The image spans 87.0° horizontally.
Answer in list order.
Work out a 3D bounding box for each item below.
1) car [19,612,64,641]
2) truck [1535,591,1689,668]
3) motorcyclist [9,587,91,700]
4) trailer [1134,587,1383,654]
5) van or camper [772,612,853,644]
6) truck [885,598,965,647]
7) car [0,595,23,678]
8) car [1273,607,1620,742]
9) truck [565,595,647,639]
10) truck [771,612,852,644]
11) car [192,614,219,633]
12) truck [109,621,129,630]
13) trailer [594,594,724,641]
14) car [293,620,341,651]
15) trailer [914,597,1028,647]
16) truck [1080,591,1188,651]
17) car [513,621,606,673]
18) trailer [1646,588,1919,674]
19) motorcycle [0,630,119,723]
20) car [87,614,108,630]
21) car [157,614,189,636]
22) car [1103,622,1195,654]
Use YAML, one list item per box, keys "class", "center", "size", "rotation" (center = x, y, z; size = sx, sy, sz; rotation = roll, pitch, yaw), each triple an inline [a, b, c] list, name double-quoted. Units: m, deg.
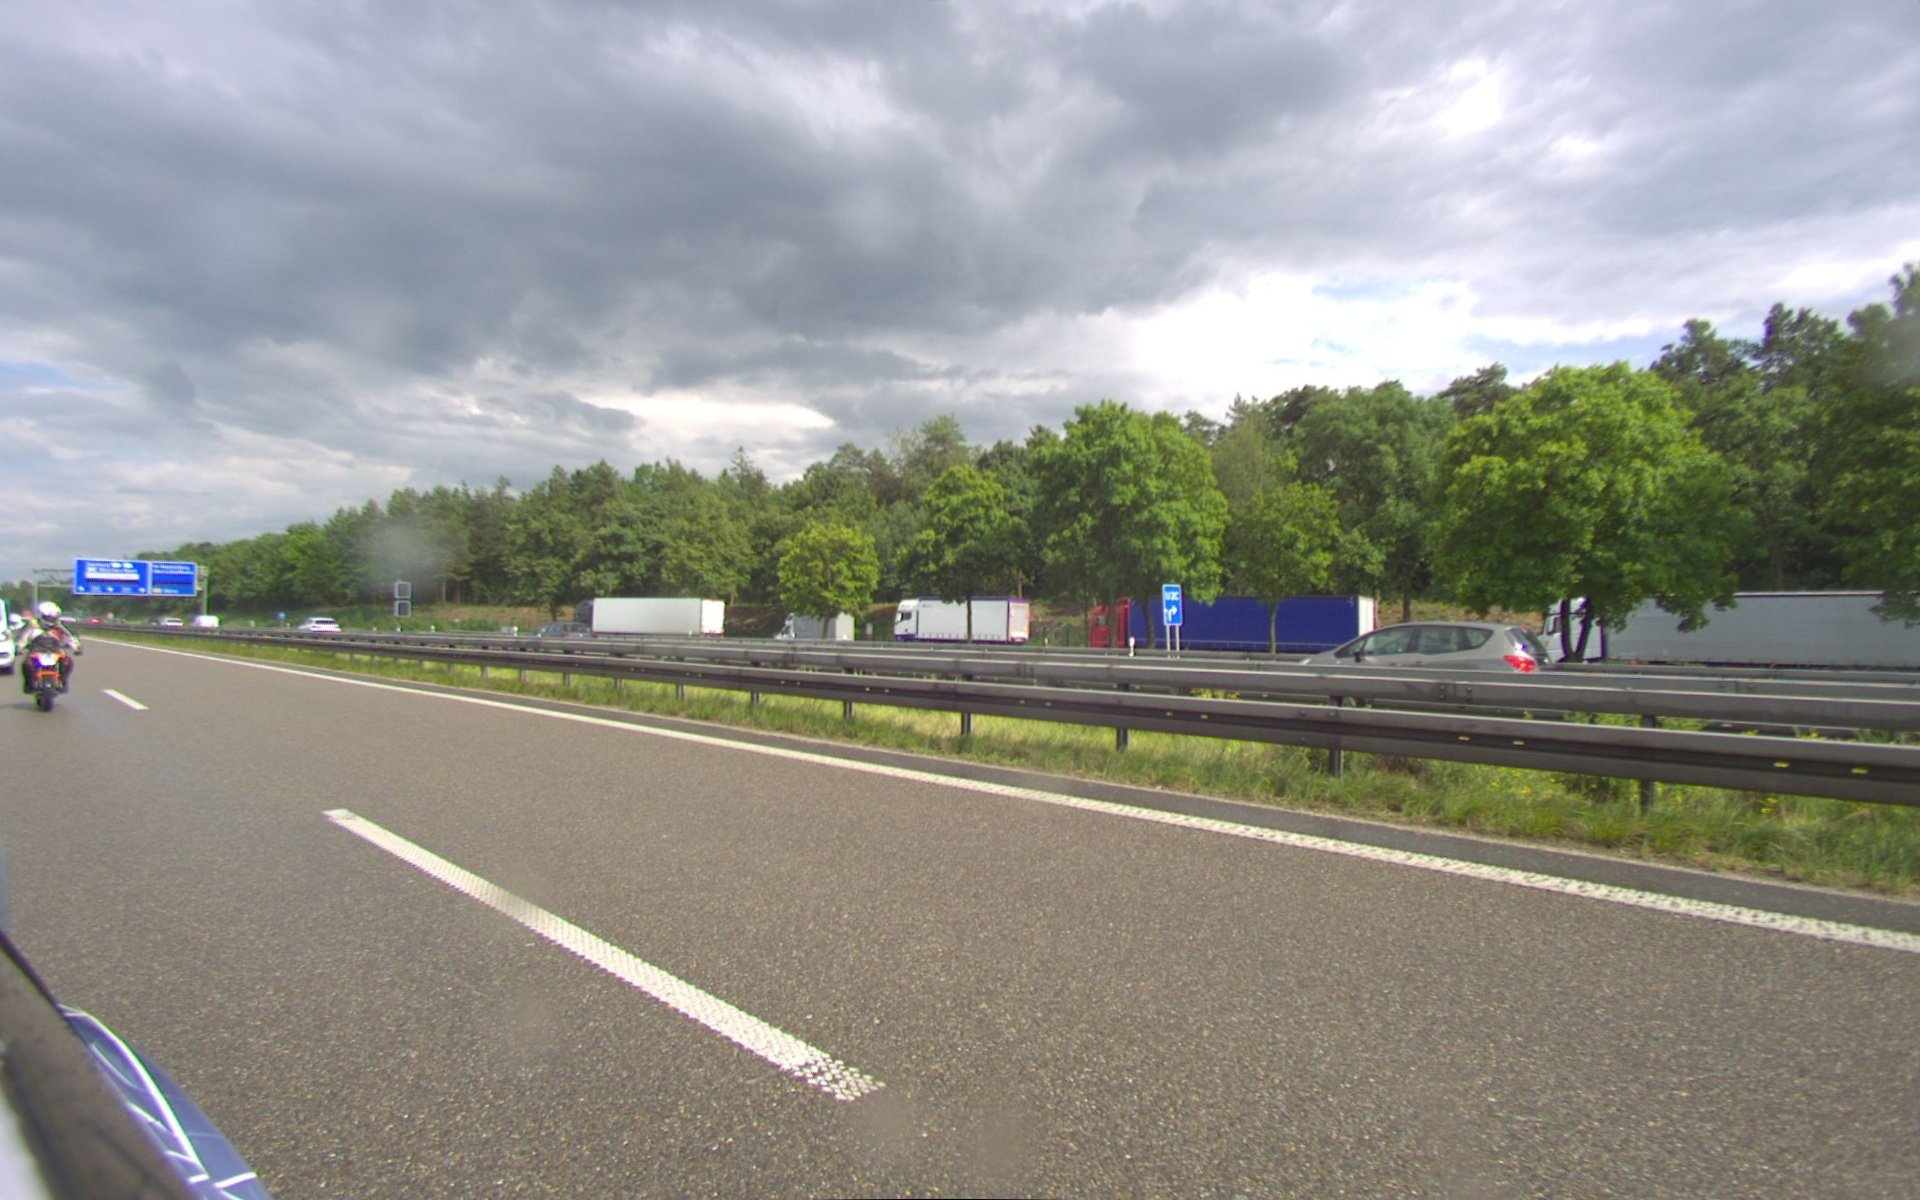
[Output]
- class: "car"
  center: [-70.354, 1.985, 77.466]
  size: [2.317, 2.060, 5.146]
  rotation: [-1, 0, -45]
- class: "truck"
  center: [29.863, 1.270, 46.428]
  size: [5.506, 3.298, 3.317]
  rotation: [0, 0, 42]
- class: "motorcyclist"
  center: [-14.387, 0.659, 15.995]
  size: [1.001, 1.719, 0.871]
  rotation: [-1, 0, 43]
- class: "trailer"
  center: [16.457, 1.160, 57.038]
  size: [13.409, 3.430, 2.795]
  rotation: [-1, -1, 39]
- class: "van or camper"
  center: [-11.317, 2.111, 77.590]
  size: [6.303, 2.282, 2.102]
  rotation: [-1, 0, 33]
- class: "truck"
  center: [-2.457, 1.529, 71.218]
  size: [5.075, 3.292, 2.631]
  rotation: [-1, 0, 35]
- class: "car"
  center: [-26.079, 0.932, 26.325]
  size: [2.317, 2.060, 5.146]
  rotation: [-1, 0, -45]
- class: "car"
  center: [8.040, 1.089, 17.033]
  size: [2.274, 1.905, 4.782]
  rotation: [-1, 0, -45]
- class: "truck"
  center: [-31.363, 1.496, 89.630]
  size: [6.892, 3.732, 3.184]
  rotation: [-1, 0, 31]
- class: "truck"
  center: [-11.441, 2.113, 77.697]
  size: [6.299, 2.282, 2.102]
  rotation: [-1, 0, 33]
- class: "car"
  center: [-86.710, 2.700, 116.332]
  size: [1.809, 2.060, 4.782]
  rotation: [-1, 0, -45]
- class: "truck"
  center: [-122.653, 3.668, 147.602]
  size: [1.866, 1.203, 4.002]
  rotation: [-1, 0, -45]
- class: "trailer"
  center: [-25.761, 1.462, 86.204]
  size: [12.527, 3.767, 3.180]
  rotation: [-1, -1, 32]
- class: "car"
  center: [-43.873, 2.394, 68.981]
  size: [1.809, 1.905, 4.782]
  rotation: [-1, 0, -45]
- class: "trailer"
  center: [0.674, 1.489, 69.060]
  size: [7.725, 3.257, 2.556]
  rotation: [-1, -1, 36]
- class: "truck"
  center: [10.591, 1.251, 61.762]
  size: [5.889, 3.482, 2.833]
  rotation: [0, 0, 38]
- class: "car"
  center: [-16.442, 1.860, 41.412]
  size: [1.809, 1.905, 4.782]
  rotation: [-1, 0, -45]
- class: "trailer"
  center: [35.580, 1.236, 41.034]
  size: [12.476, 3.241, 3.310]
  rotation: [-1, -2, 44]
- class: "motorcycle"
  center: [-14.298, 1.135, 15.950]
  size: [3.194, 1.235, 1.172]
  rotation: [0, 0, 42]
- class: "car"
  center: [-116.826, 3.005, 137.079]
  size: [1.809, 2.060, 4.782]
  rotation: [-1, 0, -45]
- class: "car"
  center: [-72.398, 2.267, 93.065]
  size: [1.809, 1.905, 4.782]
  rotation: [-1, 0, -45]
- class: "car"
  center: [13.158, 2.612, 70.692]
  size: [6.123, 2.029, 1.975]
  rotation: [0, 0, 37]
